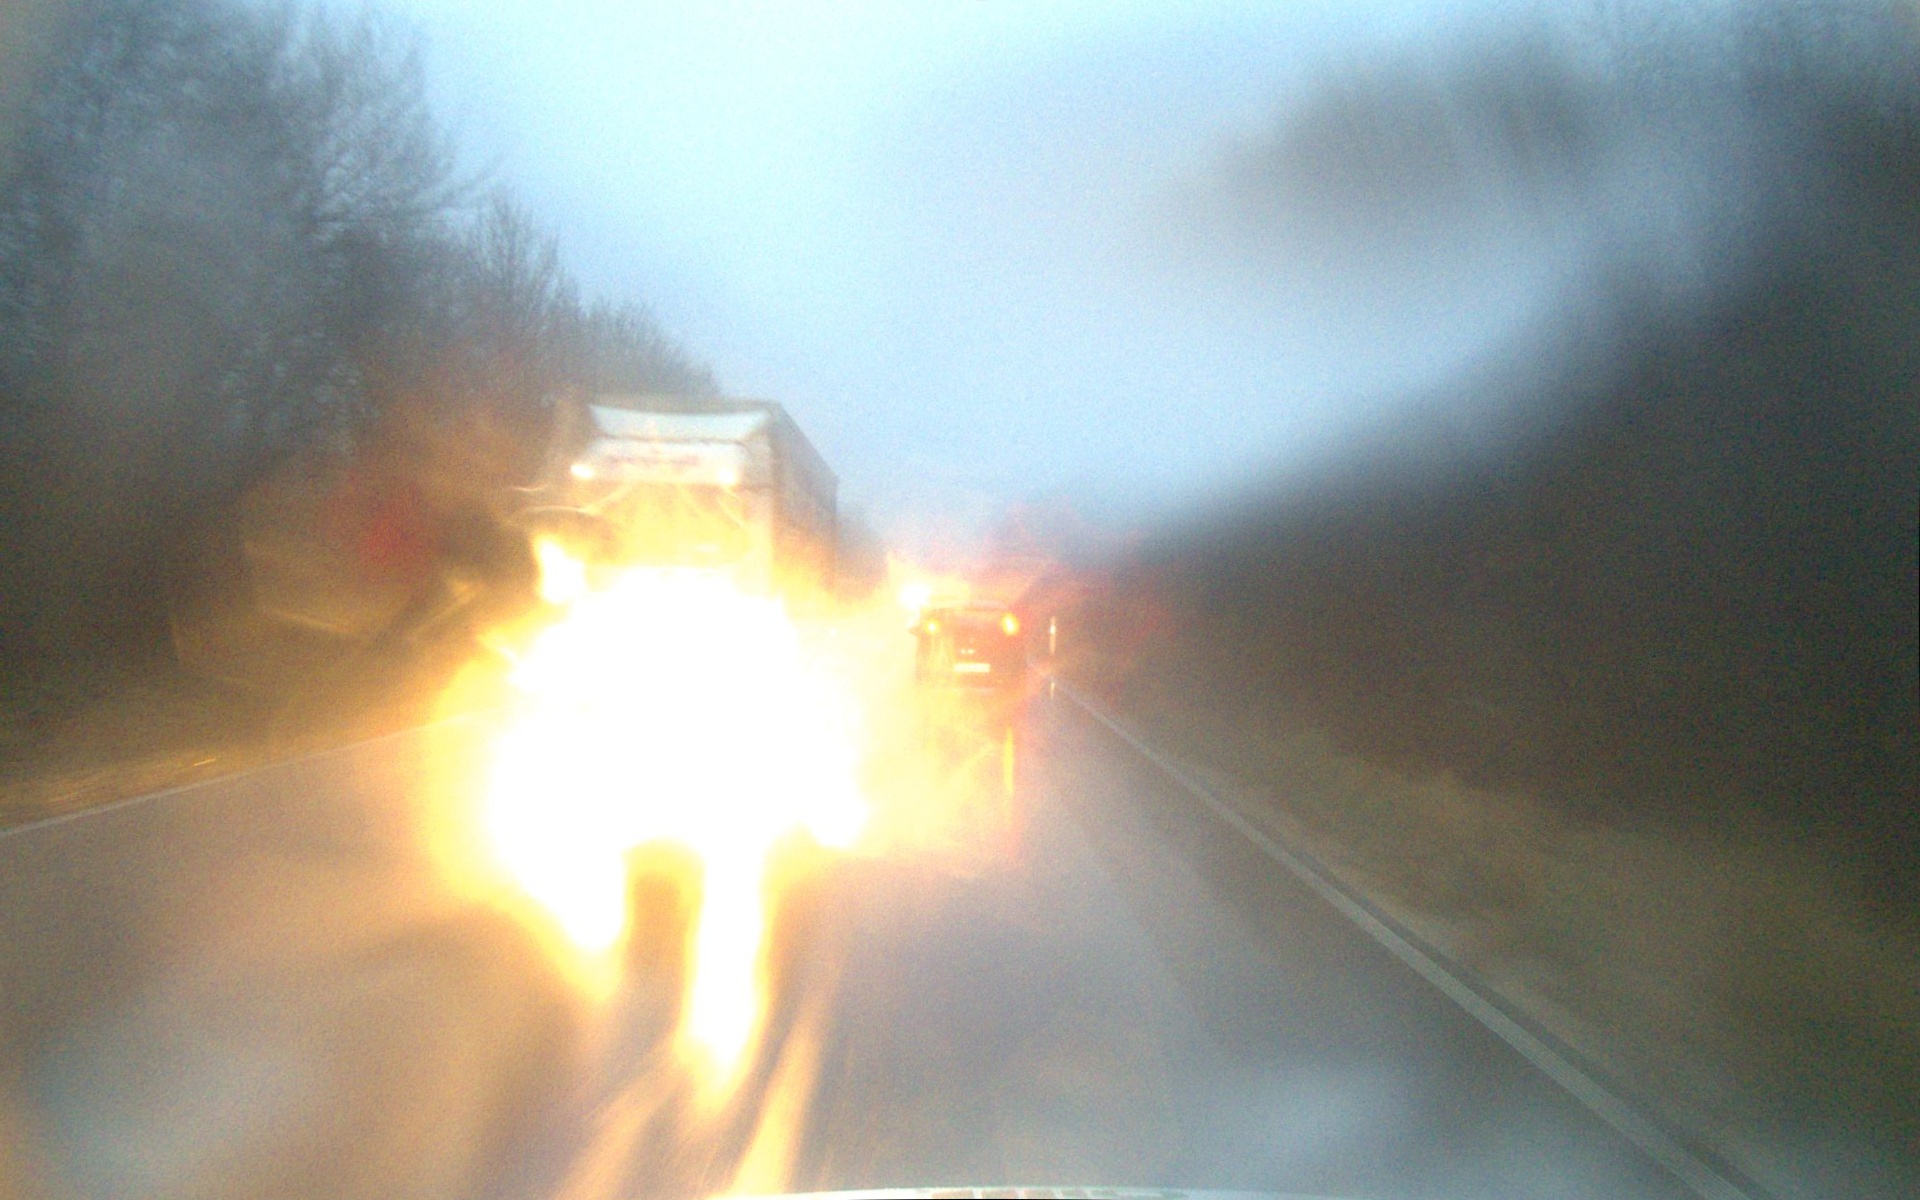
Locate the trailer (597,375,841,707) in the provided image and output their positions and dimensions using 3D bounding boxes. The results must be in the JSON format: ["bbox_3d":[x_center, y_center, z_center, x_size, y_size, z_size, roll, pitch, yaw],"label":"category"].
[{"bbox_3d":[-3.752,-0.823,28.823,2.616,4.536,12.239,0,0,-1],"label":"trailer"}]

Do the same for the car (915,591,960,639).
[{"bbox_3d":[-0.864,0.565,64.305,1.698,1.810,3.999,0,0,-1],"label":"car"}]

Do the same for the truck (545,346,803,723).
[{"bbox_3d":[-3.685,-0.790,22.594,2.588,4.493,5.553,0,0,-1],"label":"truck"}]

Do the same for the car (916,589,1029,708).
[{"bbox_3d":[0.185,0.696,25.482,1.614,1.701,3.514,0,0,0],"label":"car"}]
